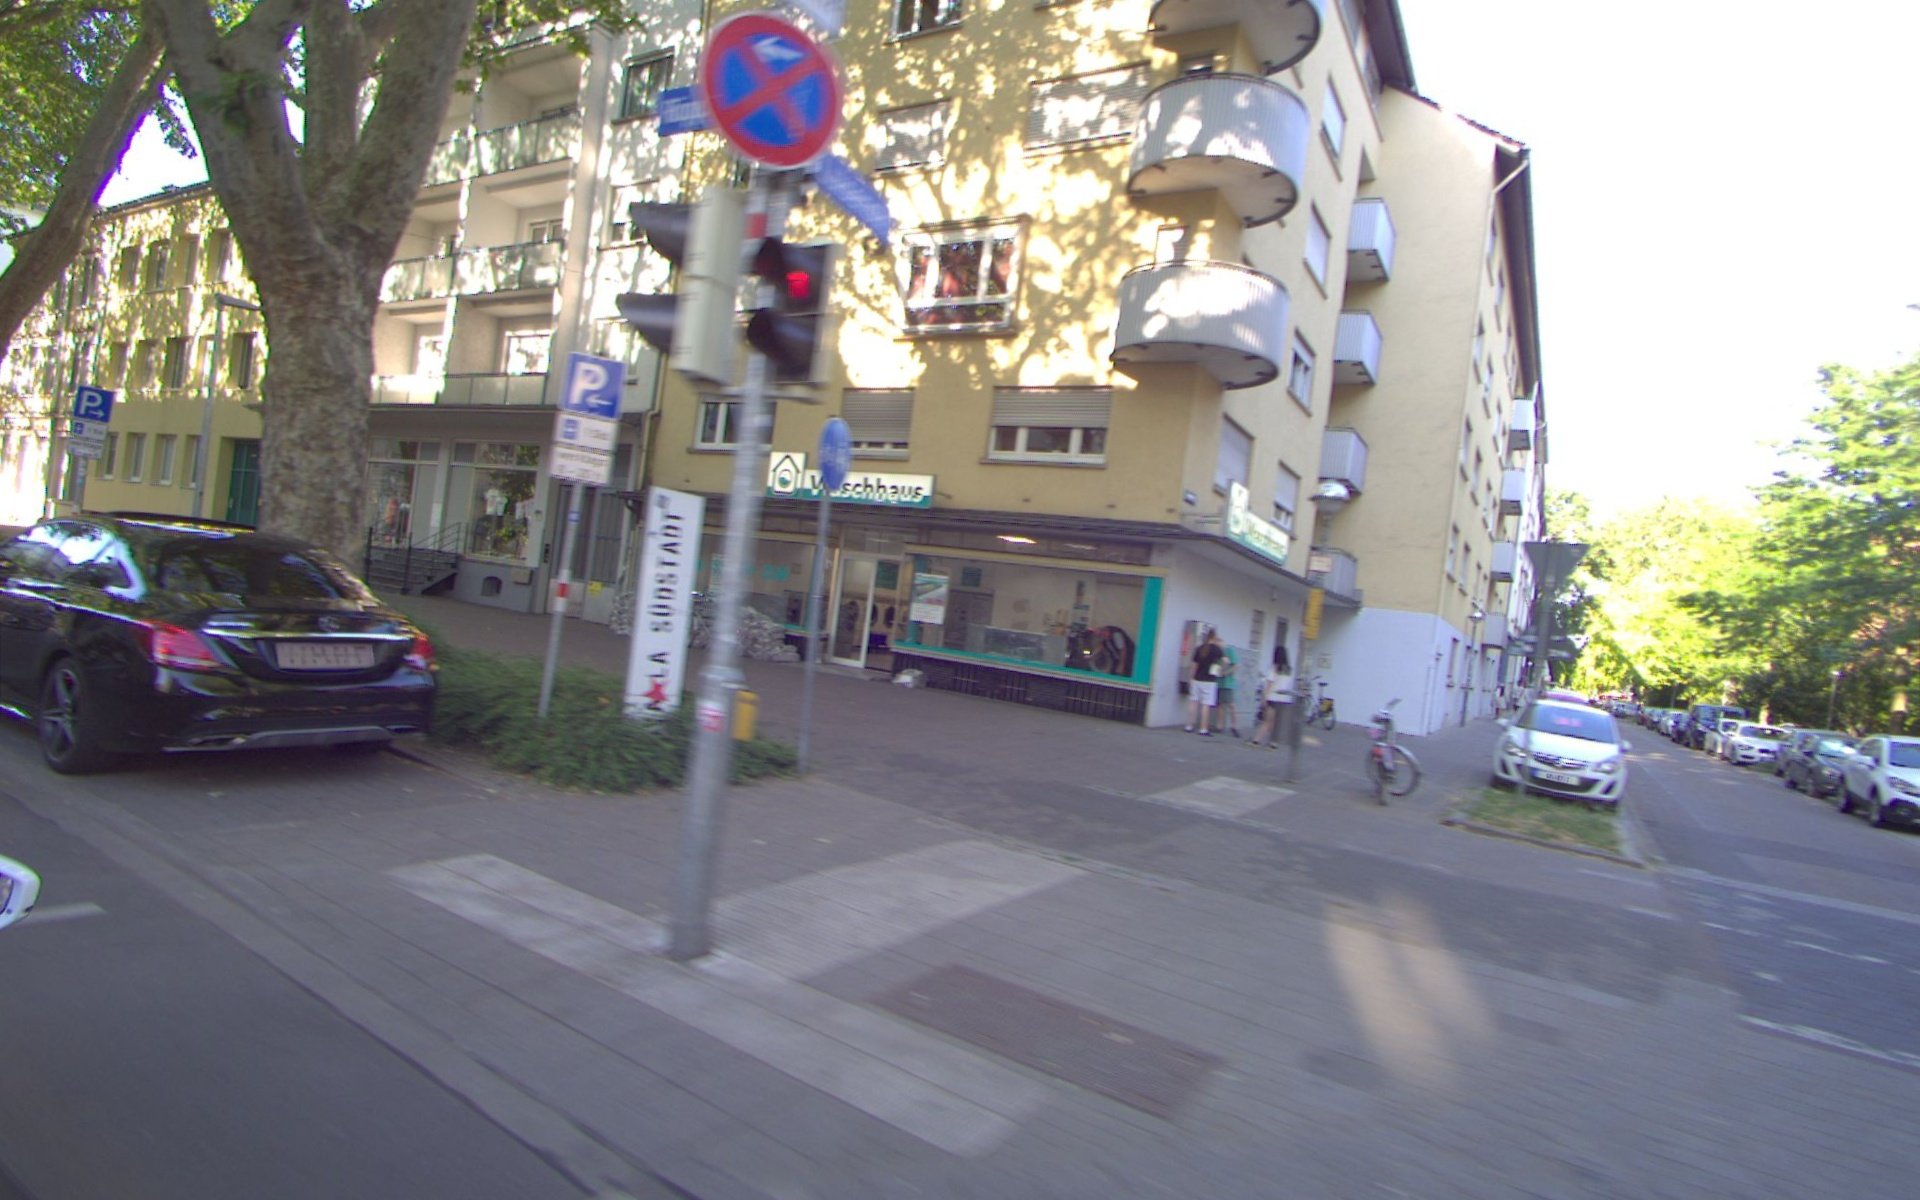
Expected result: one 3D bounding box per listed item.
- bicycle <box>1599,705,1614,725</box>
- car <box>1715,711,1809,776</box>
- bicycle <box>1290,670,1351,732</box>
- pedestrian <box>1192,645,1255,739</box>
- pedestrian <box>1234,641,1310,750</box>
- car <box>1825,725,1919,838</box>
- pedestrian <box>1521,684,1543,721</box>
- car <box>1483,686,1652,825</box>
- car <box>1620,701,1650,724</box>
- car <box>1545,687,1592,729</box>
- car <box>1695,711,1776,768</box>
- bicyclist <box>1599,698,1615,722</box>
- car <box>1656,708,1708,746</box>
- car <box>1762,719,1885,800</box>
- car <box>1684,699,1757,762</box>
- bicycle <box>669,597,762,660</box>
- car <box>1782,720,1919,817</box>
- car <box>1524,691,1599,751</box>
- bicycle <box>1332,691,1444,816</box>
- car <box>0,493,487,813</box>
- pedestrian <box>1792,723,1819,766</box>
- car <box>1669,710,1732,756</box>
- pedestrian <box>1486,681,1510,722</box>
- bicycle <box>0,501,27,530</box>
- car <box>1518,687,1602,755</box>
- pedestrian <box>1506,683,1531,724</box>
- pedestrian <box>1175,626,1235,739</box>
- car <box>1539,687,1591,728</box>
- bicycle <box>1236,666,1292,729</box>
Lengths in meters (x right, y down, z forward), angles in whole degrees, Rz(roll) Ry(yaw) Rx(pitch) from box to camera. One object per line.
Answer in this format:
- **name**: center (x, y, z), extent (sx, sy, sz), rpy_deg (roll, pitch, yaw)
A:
- **bicycle**: center (39.185, 6.947, 60.981), extent (0.641, 1.069, 1.541), rpy_deg (7, 0, 31)
- **car**: center (26.996, 4.794, 33.990), extent (1.835, 1.713, 3.867), rpy_deg (7, -1, 31)
- **bicycle**: center (8.149, 2.275, 22.833), extent (0.591, 1.171, 1.696), rpy_deg (6, 1, -2)
- **pedestrian**: center (4.403, 1.515, 16.793), extent (0.755, 1.432, 0.842), rpy_deg (7, 0, 23)
- **pedestrian**: center (4.836, 1.474, 15.635), extent (0.692, 1.558, 0.688), rpy_deg (7, 0, -17)
- **car**: center (17.631, 3.363, 18.484), extent (1.835, 1.713, 3.867), rpy_deg (7, -1, 31)
- **pedestrian**: center (26.256, 4.707, 46.169), extent (0.678, 1.604, 0.772), rpy_deg (7, 0, 26)
- **car**: center (9.520, 2.311, 15.860), extent (1.835, 1.571, 3.867), rpy_deg (10, 1, 31)
- **car**: center (60.418, 10.074, 90.066), extent (1.835, 1.713, 3.867), rpy_deg (7, -1, 31)
- **car**: center (32.661, 5.760, 54.004), extent (1.835, 1.829, 3.867), rpy_deg (10, 1, 31)
- **car**: center (29.452, 5.244, 38.323), extent (1.835, 1.713, 3.867), rpy_deg (7, -1, 31)
- **bicyclist**: center (39.221, 6.653, 60.977), extent (0.641, 1.360, 0.697), rpy_deg (7, 0, 31)
- **car**: center (39.585, 6.938, 55.232), extent (1.835, 1.713, 3.867), rpy_deg (7, -1, 31)
- **car**: center (24.153, 4.395, 28.282), extent (1.835, 1.713, 3.867), rpy_deg (7, -1, 31)
- **car**: center (31.943, 5.428, 42.353), extent (1.835, 2.259, 3.867), rpy_deg (7, -1, 31)
- **bicycle**: center (-4.765, 0.551, 19.568), extent (1.749, 1.010, 0.571), rpy_deg (7, 1, 27)
- **car**: center (20.977, 3.861, 23.650), extent (1.835, 1.713, 3.867), rpy_deg (7, -1, 31)
- **car**: center (20.169, 3.997, 33.767), extent (1.835, 1.571, 3.867), rpy_deg (10, 1, 31)
- **bicycle**: center (5.086, 1.784, 12.082), extent (0.731, 1.171, 1.797), rpy_deg (6, 1, 10)
- **car**: center (-5.667, 0.134, 6.941), extent (4.927, 1.480, 1.768), rpy_deg (7, -1, 30)
- **pedestrian**: center (34.118, 5.812, 40.592), extent (0.646, 1.604, 0.770), rpy_deg (7, 0, 36)
- **car**: center (34.214, 6.095, 46.570), extent (1.835, 1.713, 3.867), rpy_deg (7, -1, 31)
- **pedestrian**: center (22.345, 4.192, 41.791), extent (0.644, 1.604, 0.772), rpy_deg (7, 0, 26)
- **bicycle**: center (-40.912, -3.648, 43.272), extent (1.890, 1.118, 0.583), rpy_deg (7, 1, 31)
- **car**: center (18.035, 3.588, 30.285), extent (1.835, 1.571, 3.867), rpy_deg (10, 1, 31)
- **pedestrian**: center (23.069, 4.279, 41.575), extent (0.678, 1.604, 0.772), rpy_deg (7, 0, 26)
- **pedestrian**: center (3.935, 1.305, 16.196), extent (0.649, 1.703, 0.703), rpy_deg (7, 0, 5)
- **car**: center (28.984, 5.107, 48.203), extent (1.835, 1.571, 3.867), rpy_deg (10, 1, 31)
- **bicycle**: center (6.262, 1.970, 20.645), extent (0.592, 1.171, 1.693), rpy_deg (7, 1, 31)
